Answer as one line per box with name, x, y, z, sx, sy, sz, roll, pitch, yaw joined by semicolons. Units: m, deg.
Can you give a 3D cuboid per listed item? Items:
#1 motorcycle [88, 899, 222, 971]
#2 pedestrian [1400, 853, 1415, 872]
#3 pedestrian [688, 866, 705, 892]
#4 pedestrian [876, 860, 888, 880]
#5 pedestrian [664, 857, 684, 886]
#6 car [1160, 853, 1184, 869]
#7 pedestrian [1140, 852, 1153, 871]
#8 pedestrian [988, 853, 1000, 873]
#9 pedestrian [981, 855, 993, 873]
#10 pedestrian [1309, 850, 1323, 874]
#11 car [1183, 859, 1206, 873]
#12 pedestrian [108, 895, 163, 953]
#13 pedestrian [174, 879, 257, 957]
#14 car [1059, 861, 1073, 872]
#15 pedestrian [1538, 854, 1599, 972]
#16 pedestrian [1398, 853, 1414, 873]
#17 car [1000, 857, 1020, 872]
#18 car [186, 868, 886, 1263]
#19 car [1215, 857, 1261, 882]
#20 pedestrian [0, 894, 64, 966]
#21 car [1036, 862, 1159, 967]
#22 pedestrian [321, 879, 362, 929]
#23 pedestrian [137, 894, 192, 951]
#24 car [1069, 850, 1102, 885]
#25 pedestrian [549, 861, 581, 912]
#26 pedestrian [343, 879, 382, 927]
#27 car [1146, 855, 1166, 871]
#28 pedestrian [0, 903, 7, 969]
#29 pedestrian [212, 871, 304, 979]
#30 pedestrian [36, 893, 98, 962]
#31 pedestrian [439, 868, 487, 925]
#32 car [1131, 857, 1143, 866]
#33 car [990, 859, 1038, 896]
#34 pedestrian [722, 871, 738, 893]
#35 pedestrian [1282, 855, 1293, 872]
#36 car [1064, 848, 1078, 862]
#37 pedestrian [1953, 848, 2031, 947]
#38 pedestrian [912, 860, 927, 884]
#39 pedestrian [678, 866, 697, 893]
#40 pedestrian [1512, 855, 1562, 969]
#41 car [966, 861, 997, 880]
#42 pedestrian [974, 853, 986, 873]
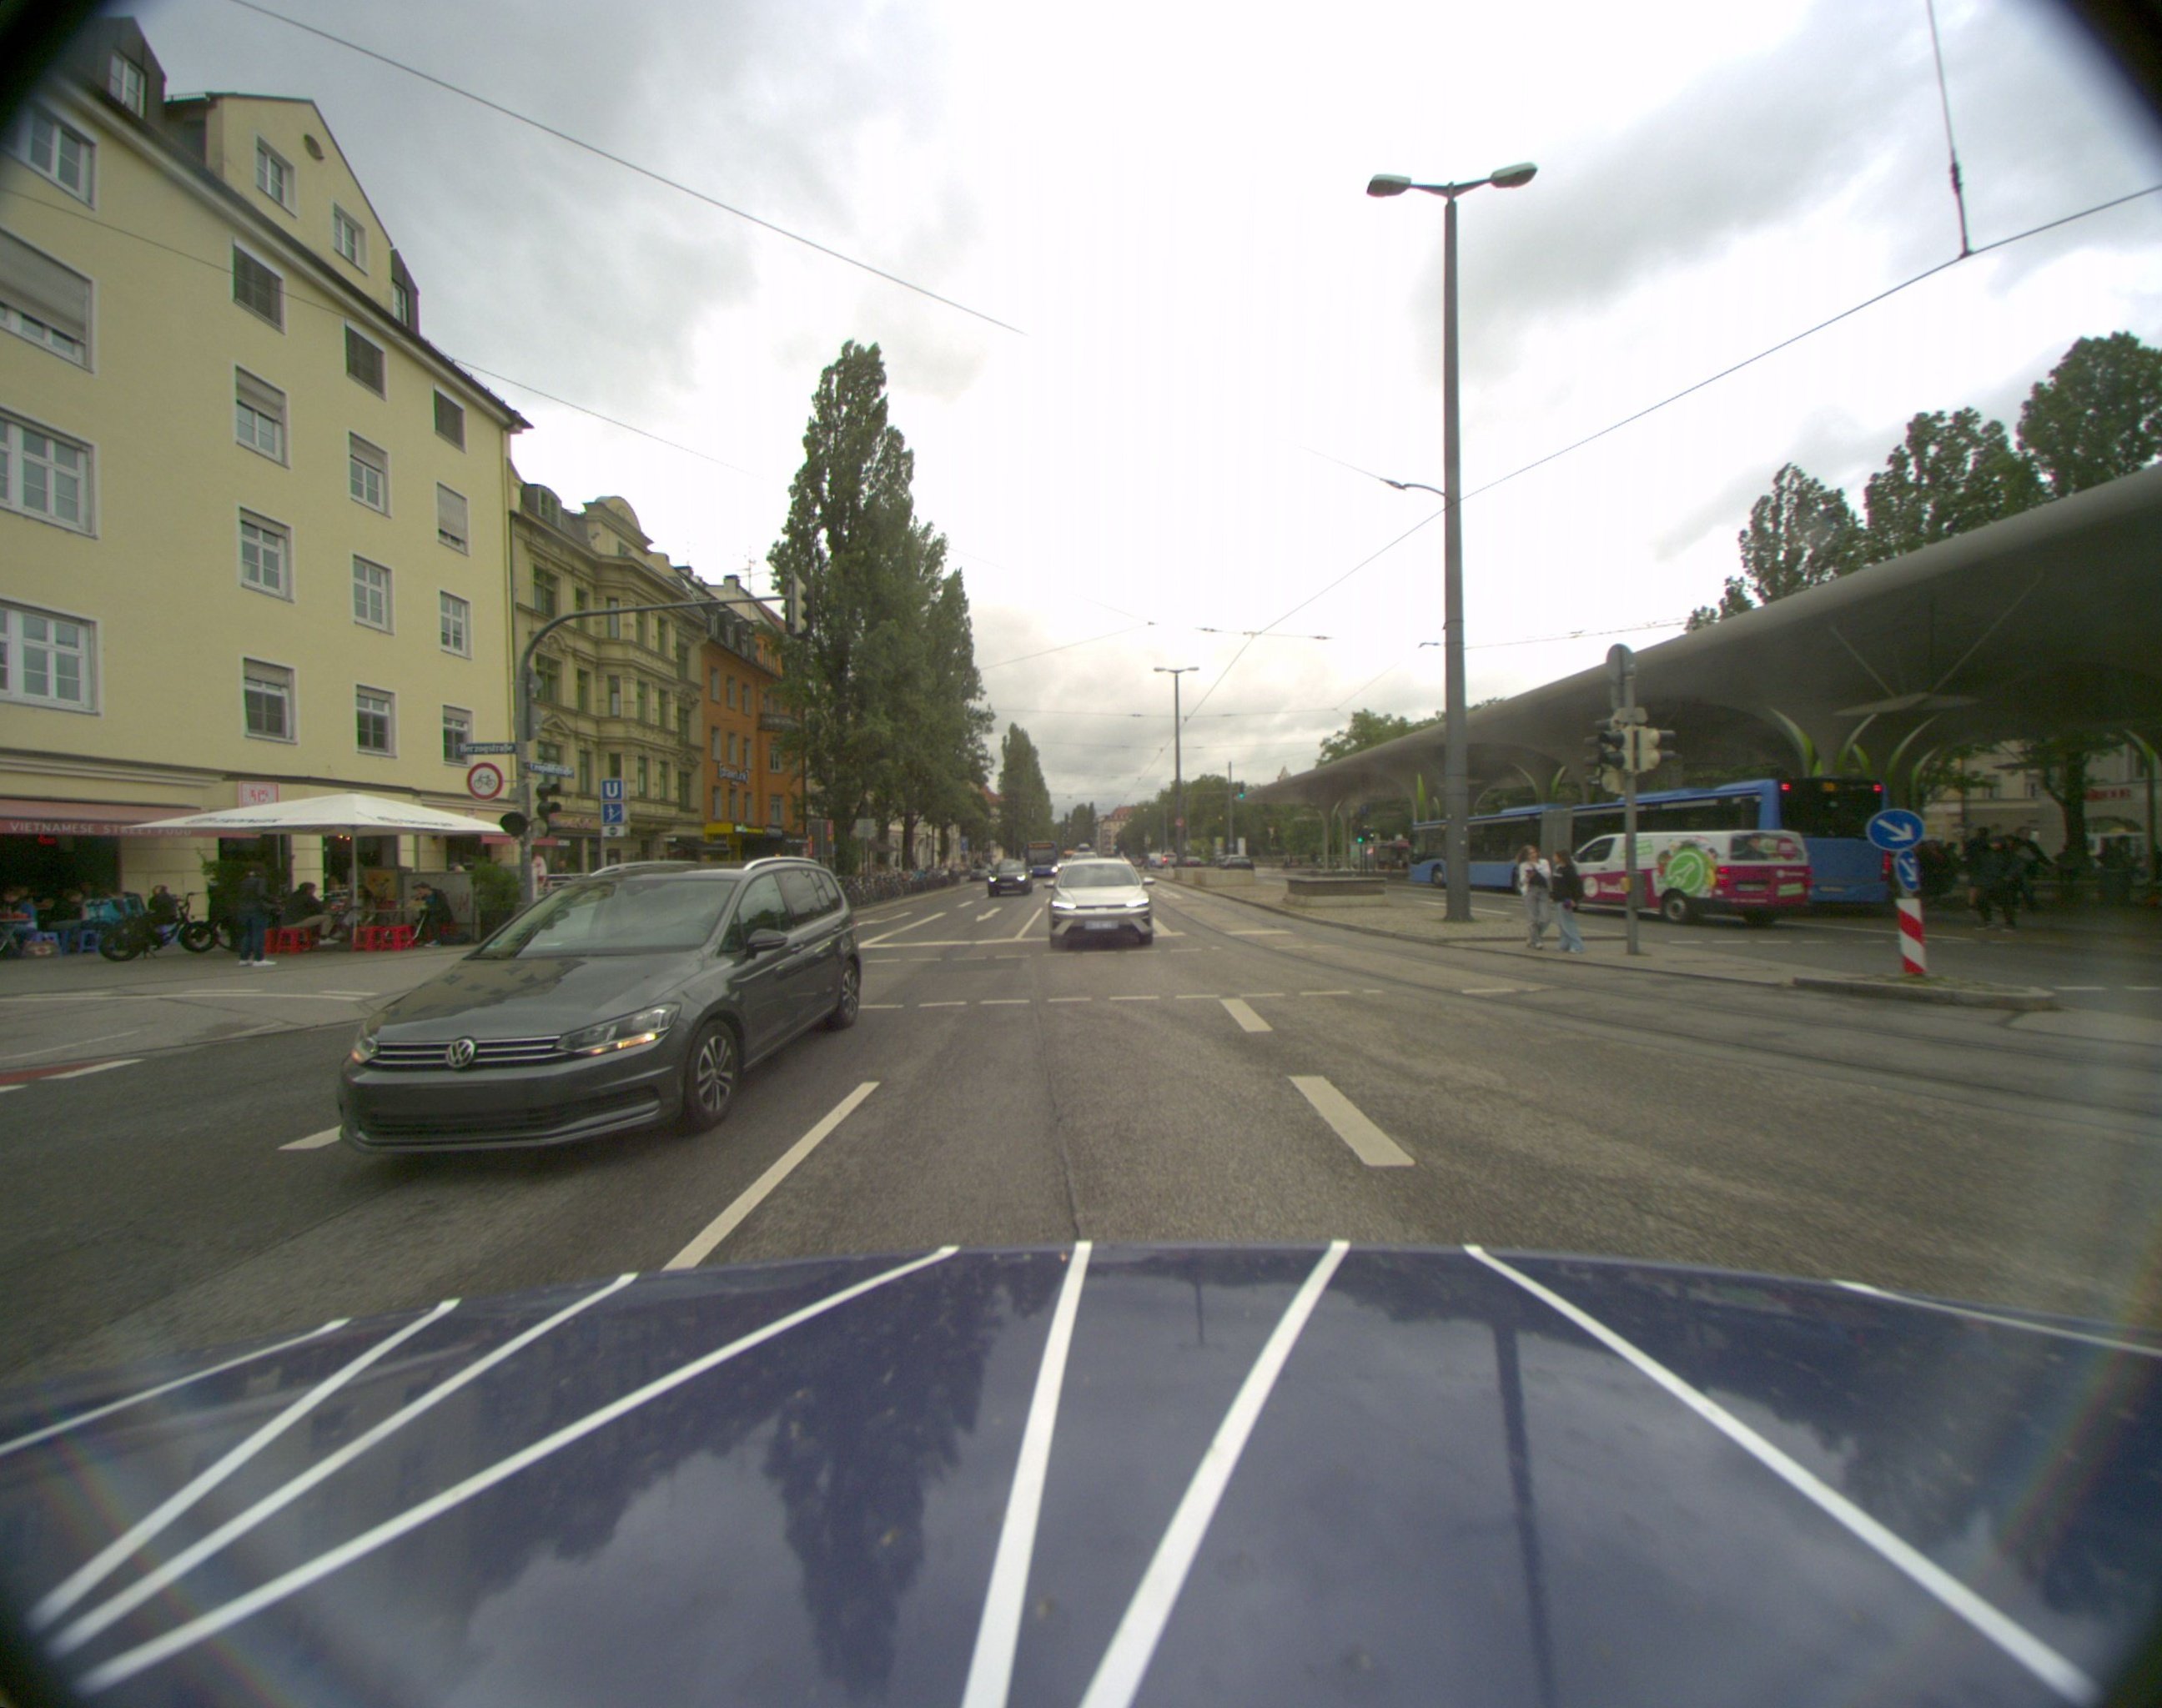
motorcycle;-16.920;1.442;13.936;0.487;1.149;1.571;-1;0;1
pedestrian;30.546;0.804;71.141;1.031;1.752;0.957;-1;0;1
pedestrian;-19.583;1.268;38.698;0.584;1.273;0.583;-1;0;0
pedestrian;-16.725;1.335;63.915;0.748;1.675;1.017;-1;0;1
pedestrian;-20.683;0.886;38.627;0.626;1.466;0.583;-1;0;3
car;11.637;0.872;97.364;2.181;1.876;6.155;-1;0;-1
pedestrian;6.214;0.731;72.098;0.862;1.801;0.895;-2;1;-23
pedestrian;-8.070;0.841;70.463;0.881;1.790;0.757;-2;-1;11
pedestrian;-8.595;0.910;69.339;0.758;1.628;0.699;-1;-1;-43
pedestrian;18.393;0.616;59.517;0.667;1.828;0.808;-1;0;-31
car;11.985;1.237;80.232;1.677;1.370;4.613;-1;0;-1
pedestrian;-19.871;1.470;15.974;0.479;1.159;0.527;-1;0;-1
pedestrian;-17.857;1.293;15.704;0.732;1.531;0.890;-1;0;-14
car;-1.958;1.674;101.802;1.704;1.360;3.633;2;-1;0
pedestrian;6.880;0.812;10.727;0.488;1.609;0.556;-1;0;-34
pedestrian;26.421;0.754;61.792;0.749;1.600;0.837;-1;0;-27
car;-7.913;1.151;84.860;1.737;1.651;4.502;-1;0;0
car;-3.034;0.991;5.738;1.776;1.637;4.708;-2;0;1
car;9.400;0.921;45.790;1.848;1.408;4.034;-1;0;-1
pedestrian;-19.706;1.406;14.167;0.515;1.284;0.703;-1;0;-1
car;0.325;0.938;13.825;1.812;1.496;4.953;-1;0;2
pedestrian;-19.808;1.336;20.355;0.542;1.282;0.552;-1;0;1
pedestrian;-19.340;1.442;16.039;0.479;1.159;0.527;-1;0;-1
car;0.280;0.822;48.757;1.998;2.100;3.999;-2;1;0
pedestrian;-17.772;1.098;26.164;0.602;1.729;0.666;-1;0;1
pedestrian;-19.886;1.342;21.038;0.542;1.282;0.552;-1;0;1
car;8.766;1.040;88.837;1.791;1.844;4.217;0;0;-2
pedestrian;-19.639;1.471;13.342;0.515;1.175;0.703;-1;0;-1
pedestrian;-13.516;1.127;12.510;0.761;1.685;0.766;-1;0;-25
pedestrian;-19.906;1.434;14.928;0.479;1.291;0.527;-1;0;-1
pedestrian;-18.116;1.240;22.278;0.712;1.623;0.786;-1;0;1
car;10.647;1.484;144.052;1.868;1.629;4.677;1;0;-1
car;-3.011;1.042;34.692;1.780;1.495;3.970;-1;0;0
pedestrian;-19.679;1.565;42.609;0.624;1.211;0.583;-1;0;0
pedestrian;20.164;0.909;74.243;0.739;1.619;0.742;-1;0;-20
car;-2.155;0.148;161.844;2.806;2.835;5.114;-1;0;0
pedestrian;16.278;0.743;13.578;0.975;1.671;0.839;-1;0;-37
pedestrian;-10.840;1.195;50.921;0.761;1.553;0.763;-1;0;2
pedestrian;-19.609;1.266;37.859;0.584;1.273;0.583;-1;0;0
pedestrian;6.641;0.826;11.060;0.520;1.609;0.465;0;1;44
car;-7.989;1.311;61.658;1.999;1.432;4.528;-1;0;-1
pedestrian;-9.139;0.838;68.763;0.699;1.770;0.652;-2;-1;34
